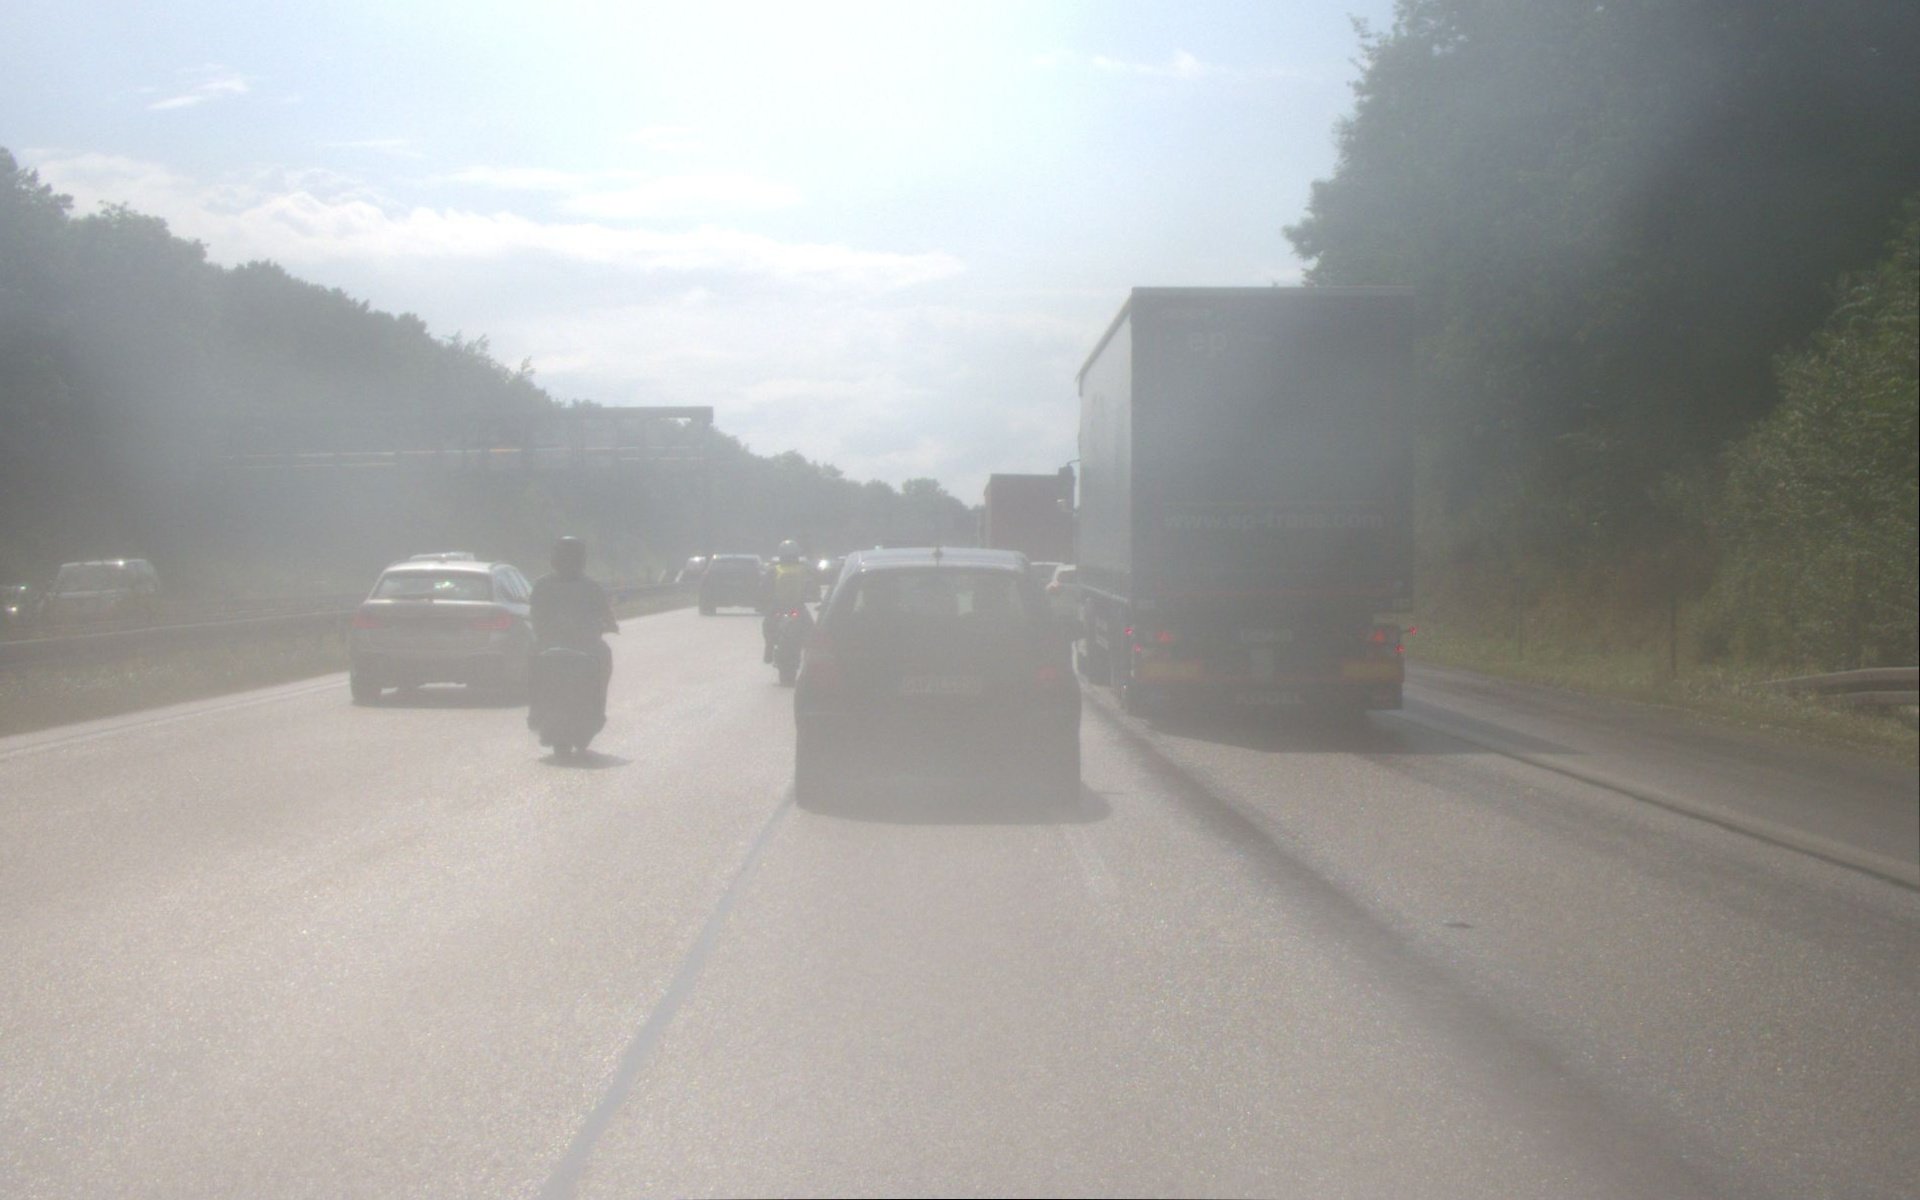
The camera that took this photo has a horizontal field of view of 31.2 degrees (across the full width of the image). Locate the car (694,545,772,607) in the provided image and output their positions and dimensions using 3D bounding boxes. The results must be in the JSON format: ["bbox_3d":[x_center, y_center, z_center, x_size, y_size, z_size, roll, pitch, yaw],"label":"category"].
[{"bbox_3d":[-6.136,-0.669,93.326,1.893,1.622,4.195,0,1,-1],"label":"car"}]

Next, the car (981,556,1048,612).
[{"bbox_3d":[1.458,-0.443,92.325,1.675,1.485,3.437,0,1,-1],"label":"car"}]

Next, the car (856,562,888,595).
[{"bbox_3d":[-5.557,-1.347,216.922,1.993,2.007,4.000,1,0,-1],"label":"car"}]

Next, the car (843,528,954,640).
[{"bbox_3d":[-1.154,-0.298,63.833,1.993,2.007,4.000,1,0,-1],"label":"car"}]

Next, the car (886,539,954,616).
[{"bbox_3d":[-1.037,-0.584,87.614,1.675,1.929,3.773,0,1,-1],"label":"car"}]

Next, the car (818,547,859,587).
[{"bbox_3d":[-6.251,-1.702,177.072,1.993,2.007,4.000,1,0,-1],"label":"car"}]

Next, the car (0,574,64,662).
[{"bbox_3d":[-22.797,0.395,81.671,1.993,2.007,4.000,0,1,0],"label":"car"}]

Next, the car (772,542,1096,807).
[{"bbox_3d":[-0.193,0.417,22.537,1.915,1.560,4.314,0,1,-1],"label":"car"}]

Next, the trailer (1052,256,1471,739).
[{"bbox_3d":[2.884,-1.000,37.778,3.088,4.298,14.106,0,1,-1],"label":"trailer"}]

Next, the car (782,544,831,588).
[{"bbox_3d":[-5.615,-1.240,126.107,1.675,1.591,3.437,0,1,-1],"label":"car"}]

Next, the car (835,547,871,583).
[{"bbox_3d":[-6.148,-2.003,197.387,1.993,2.007,4.000,1,0,-1],"label":"car"}]

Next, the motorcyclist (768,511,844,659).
[{"bbox_3d":[-1.857,-0.186,41.627,0.821,1.755,1.390,1,0,1],"label":"motorcyclist"}]

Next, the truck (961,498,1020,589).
[{"bbox_3d":[1.573,-2.977,184.420,2.882,4.671,12.659,1,0,-1],"label":"truck"}]

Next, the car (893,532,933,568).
[{"bbox_3d":[-1.960,-2.092,143.725,1.631,1.485,3.437,0,1,-1],"label":"car"}]

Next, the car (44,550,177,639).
[{"bbox_3d":[-18.928,-0.151,76.787,1.924,1.905,4.289,-1,1,0],"label":"car"}]

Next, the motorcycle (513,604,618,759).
[{"bbox_3d":[-2.955,0.593,25.862,0.676,1.083,1.982,1,1,-4],"label":"motorcycle"}]

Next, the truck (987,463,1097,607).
[{"bbox_3d":[2.546,-2.039,109.955,3.202,4.389,9.432,0,1,0],"label":"truck"}]

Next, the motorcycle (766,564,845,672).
[{"bbox_3d":[-1.857,0.200,41.591,0.819,1.258,2.117,1,1,1],"label":"motorcycle"}]

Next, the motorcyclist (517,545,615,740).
[{"bbox_3d":[-2.952,0.310,25.826,0.670,1.437,1.020,1,0,-4],"label":"motorcyclist"}]

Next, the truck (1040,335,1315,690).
[{"bbox_3d":[2.733,-1.080,45.037,3.052,4.310,5.886,1,0,-1],"label":"truck"}]

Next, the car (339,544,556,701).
[{"bbox_3d":[-5.439,0.201,36.971,1.758,1.589,4.331,0,1,-1],"label":"car"}]

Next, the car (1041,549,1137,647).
[{"bbox_3d":[2.722,-0.059,73.328,1.849,2.007,4.087,1,0,0],"label":"car"}]
